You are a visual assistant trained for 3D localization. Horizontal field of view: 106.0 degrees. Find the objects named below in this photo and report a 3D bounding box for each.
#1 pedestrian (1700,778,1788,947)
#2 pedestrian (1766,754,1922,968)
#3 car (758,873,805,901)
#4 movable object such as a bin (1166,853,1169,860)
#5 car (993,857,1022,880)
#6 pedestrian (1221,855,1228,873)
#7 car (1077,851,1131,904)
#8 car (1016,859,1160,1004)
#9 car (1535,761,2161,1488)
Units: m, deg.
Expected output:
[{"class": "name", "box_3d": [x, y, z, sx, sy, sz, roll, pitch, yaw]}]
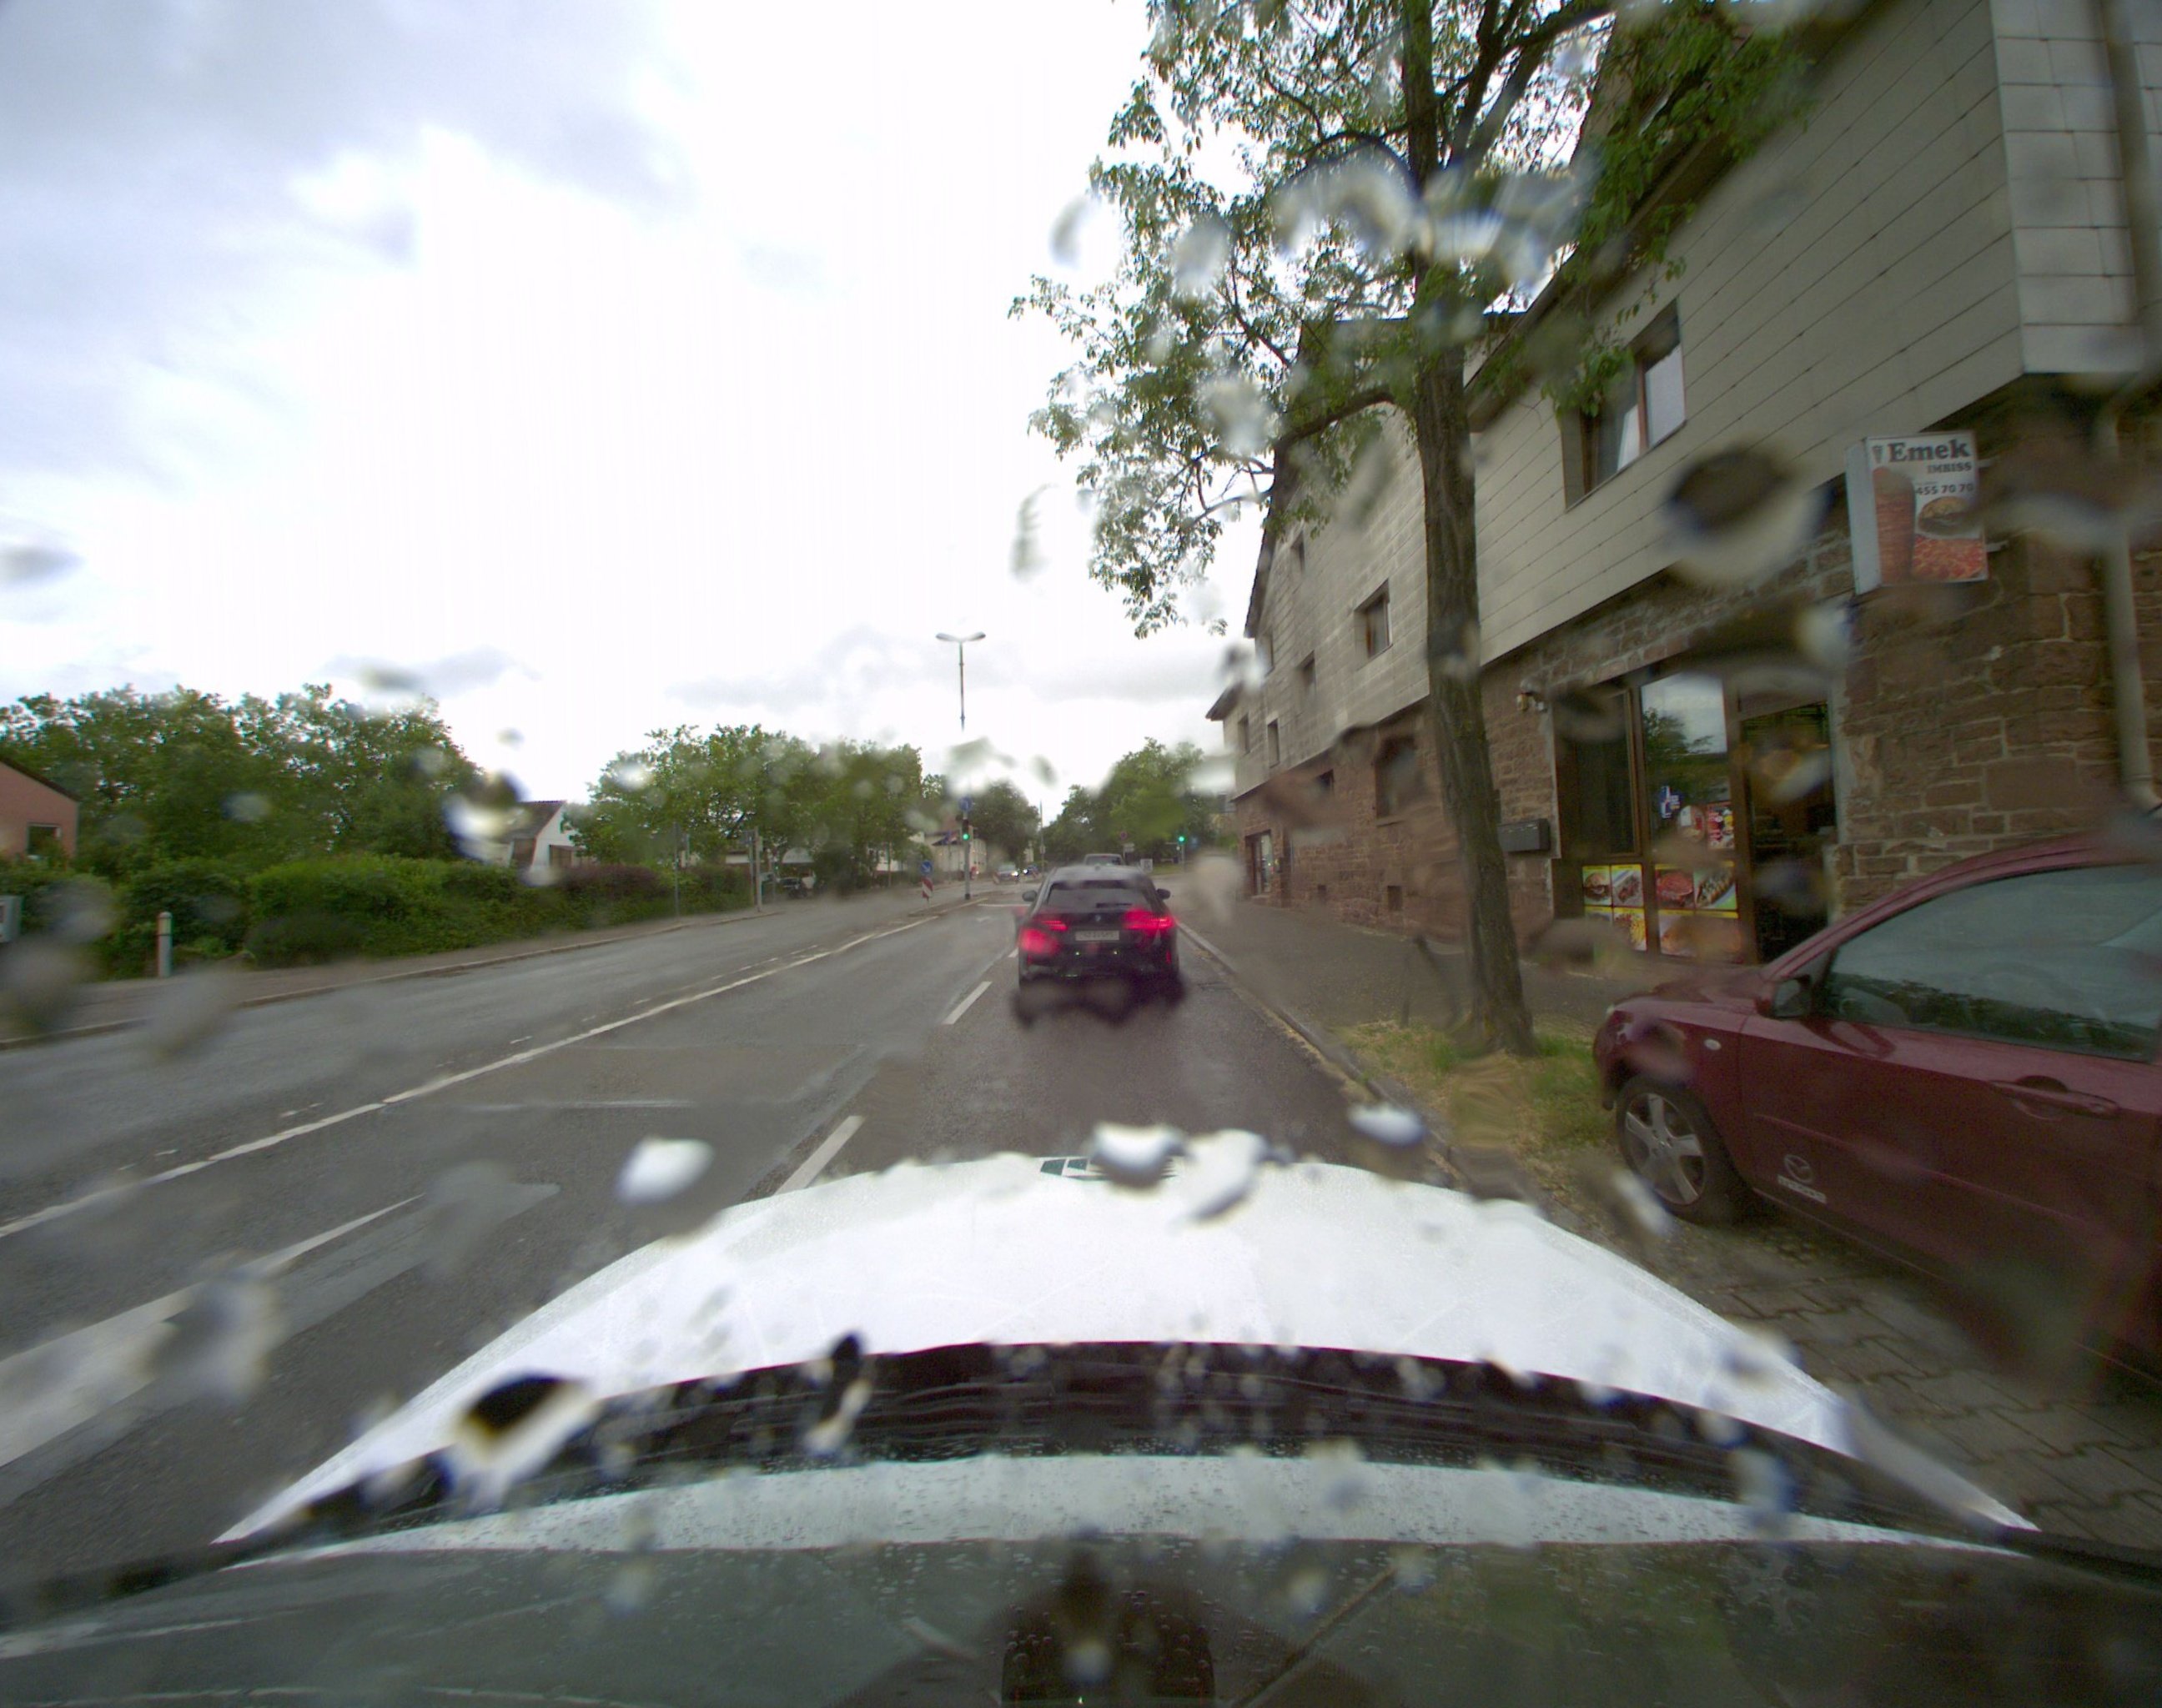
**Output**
[{"class": "pedestrian", "box_3d": [6.724, 0.087, 8.275, 0.490, 1.660, 0.454, 0, -1, 1]}, {"class": "pedestrian", "box_3d": [6.422, 0.064, 6.890, 0.794, 1.730, 0.486, -1, -1, 11]}, {"class": "car", "box_3d": [-21.021, 2.286, 57.321, 1.803, 1.551, 4.000, 0, 3, 0]}, {"class": "movable object such as a bin", "box_3d": [12.160, 0.363, 114.570, 0.446, 0.906, 0.465, -1, -1, 17]}, {"class": "car", "box_3d": [-5.743, 1.107, 63.912, 1.893, 1.577, 4.500, -2, 0, -1]}, {"class": "pedestrian", "box_3d": [12.488, 0.862, 70.882, 0.597, 1.617, 0.527, -1, -1, 8]}, {"class": "car", "box_3d": [0.779, 0.827, 29.721, 1.807, 1.809, 3.754, 0, -1, -1]}, {"class": "car", "box_3d": [0.044, 0.853, 10.427, 1.519, 1.534, 3.529, 0, -1, -1]}, {"class": "car", "box_3d": [3.034, 0.572, 2.053, 1.606, 1.504, 3.754, 0, -3, -1]}]
